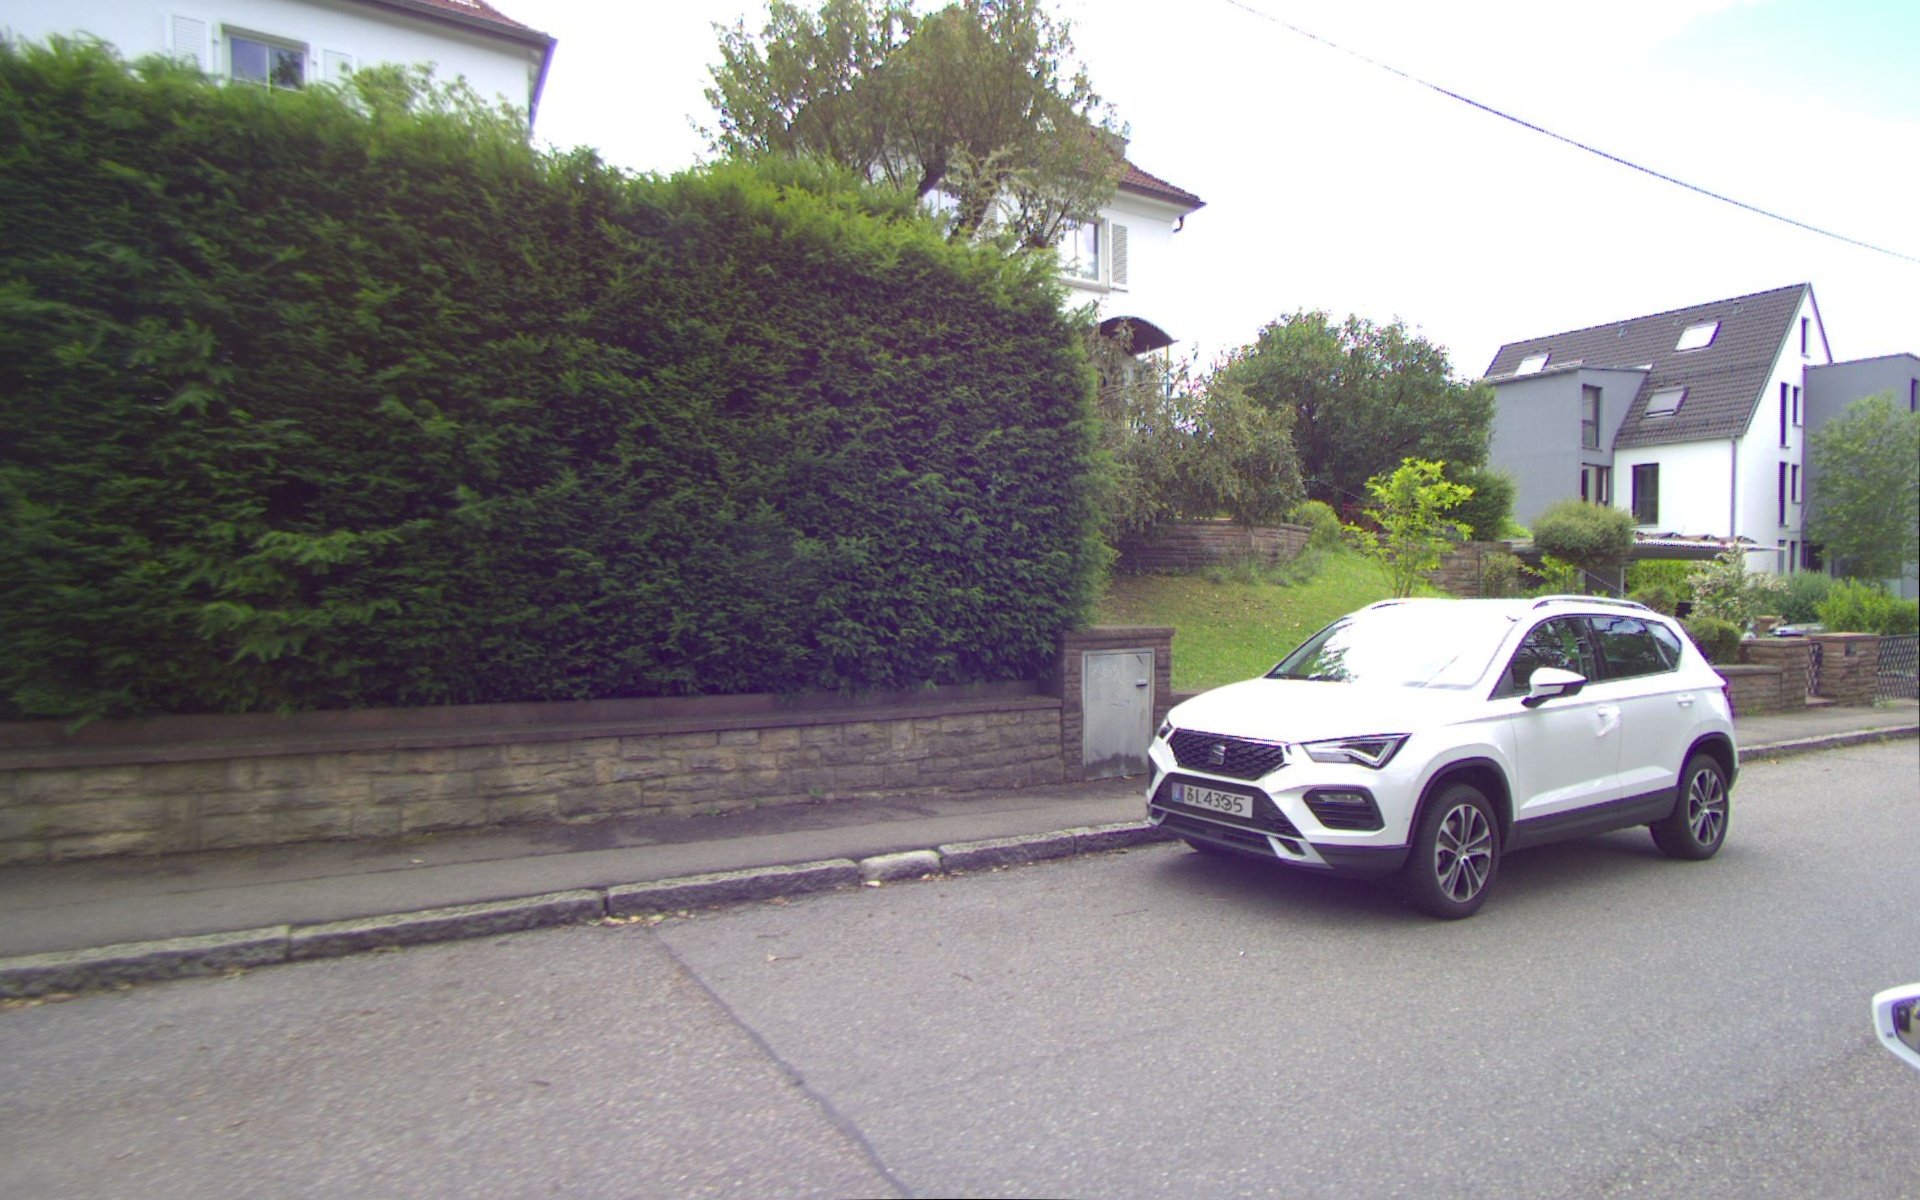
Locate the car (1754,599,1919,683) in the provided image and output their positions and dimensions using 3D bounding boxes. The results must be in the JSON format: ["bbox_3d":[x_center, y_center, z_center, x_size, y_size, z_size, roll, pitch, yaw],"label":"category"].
[{"bbox_3d":[20.592,0.873,22.028,1.978,1.720,4.589,1,0,-33],"label":"car"}]

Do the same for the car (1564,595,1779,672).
[{"bbox_3d":[18.170,0.771,25.845,1.978,1.720,4.098,-2,2,-33],"label":"car"}]

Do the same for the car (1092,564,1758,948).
[{"bbox_3d":[3.006,0.738,6.270,4.139,1.670,1.828,1,-2,-32],"label":"car"}]
